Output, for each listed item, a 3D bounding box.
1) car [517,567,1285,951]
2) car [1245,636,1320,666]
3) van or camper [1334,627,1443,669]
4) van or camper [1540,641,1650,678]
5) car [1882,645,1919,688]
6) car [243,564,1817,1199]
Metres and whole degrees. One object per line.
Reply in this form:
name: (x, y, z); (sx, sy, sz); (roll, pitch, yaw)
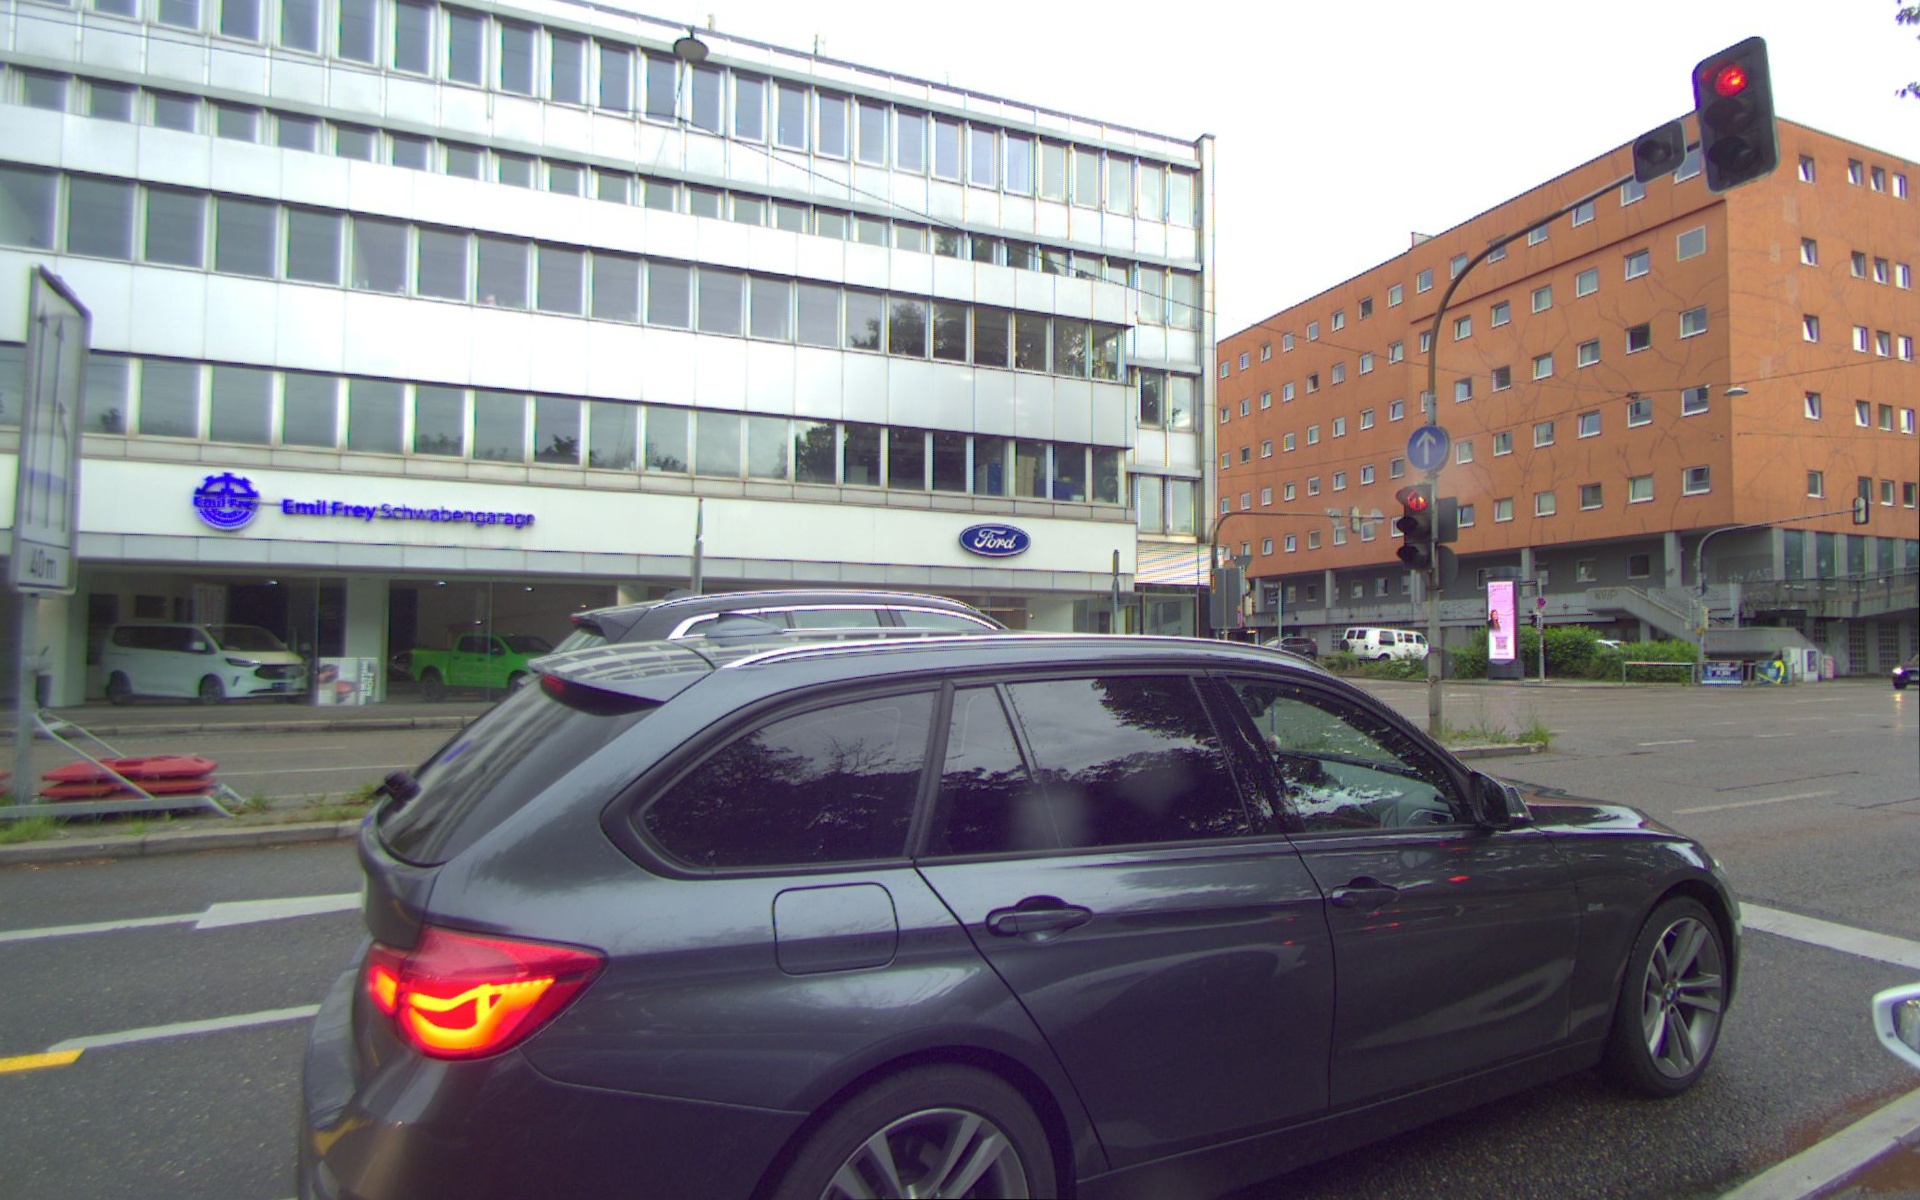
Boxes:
car: (-0.278, 0.751, 6.227); (4.389, 1.678, 1.802); (2, 0, -28)
car: (18.945, 2.970, 59.013); (4.027, 1.633, 1.706); (2, 0, -23)
van or camper: (22.345, 2.500, 52.384); (5.376, 2.004, 2.121); (2, 0, -23)
van or camper: (29.543, 2.743, 46.870); (1.887, 1.648, 3.978); (1, -2, -23)
car: (33.953, 2.317, 34.733); (4.161, 1.437, 1.680); (2, -3, -27)
car: (0.593, 0.783, 3.144); (4.424, 1.477, 1.769); (2, -3, -30)
